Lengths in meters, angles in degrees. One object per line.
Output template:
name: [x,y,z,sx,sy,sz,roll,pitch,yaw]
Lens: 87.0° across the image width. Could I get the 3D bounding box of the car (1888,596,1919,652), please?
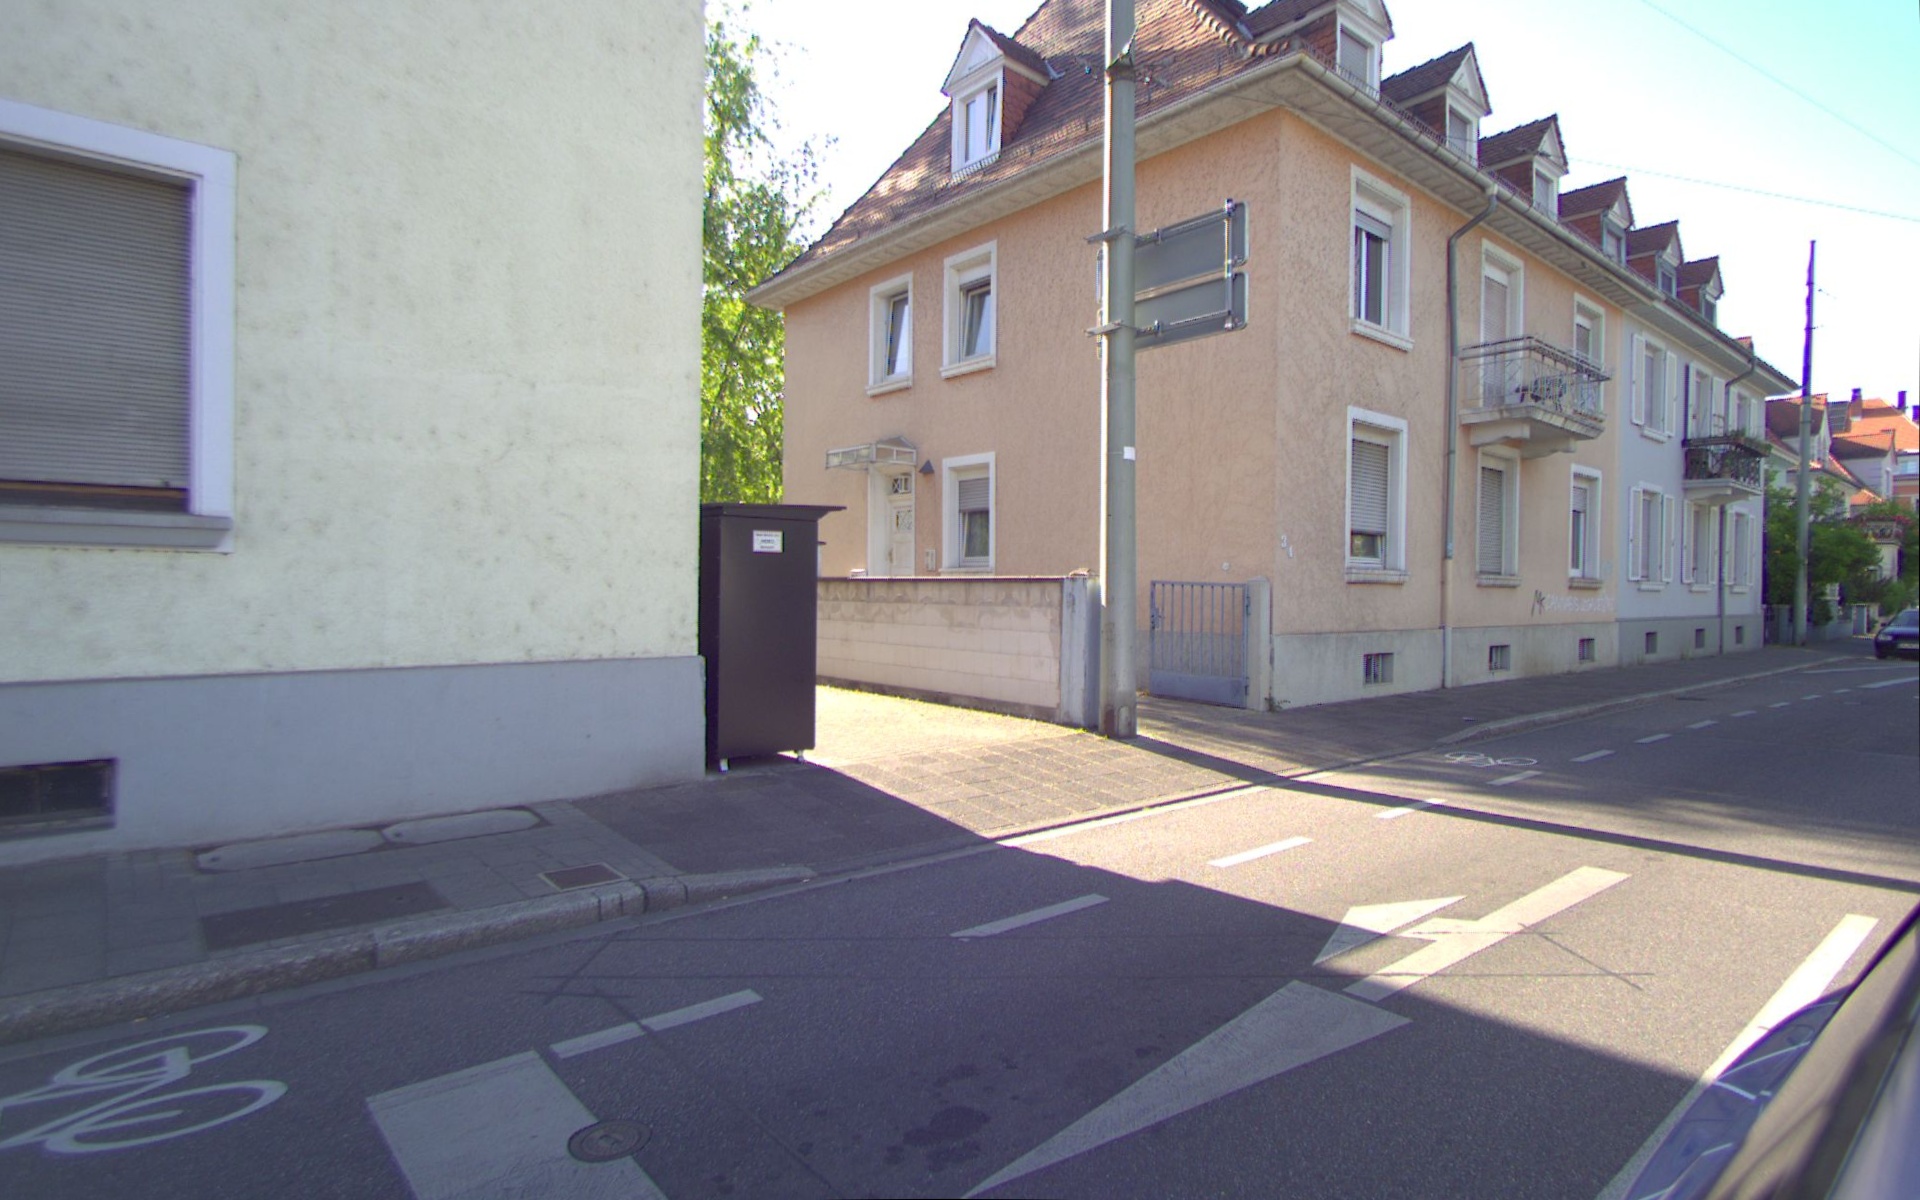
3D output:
car: [26.719,0.628,27.395,4.347,1.425,1.866,0,1,-41]
